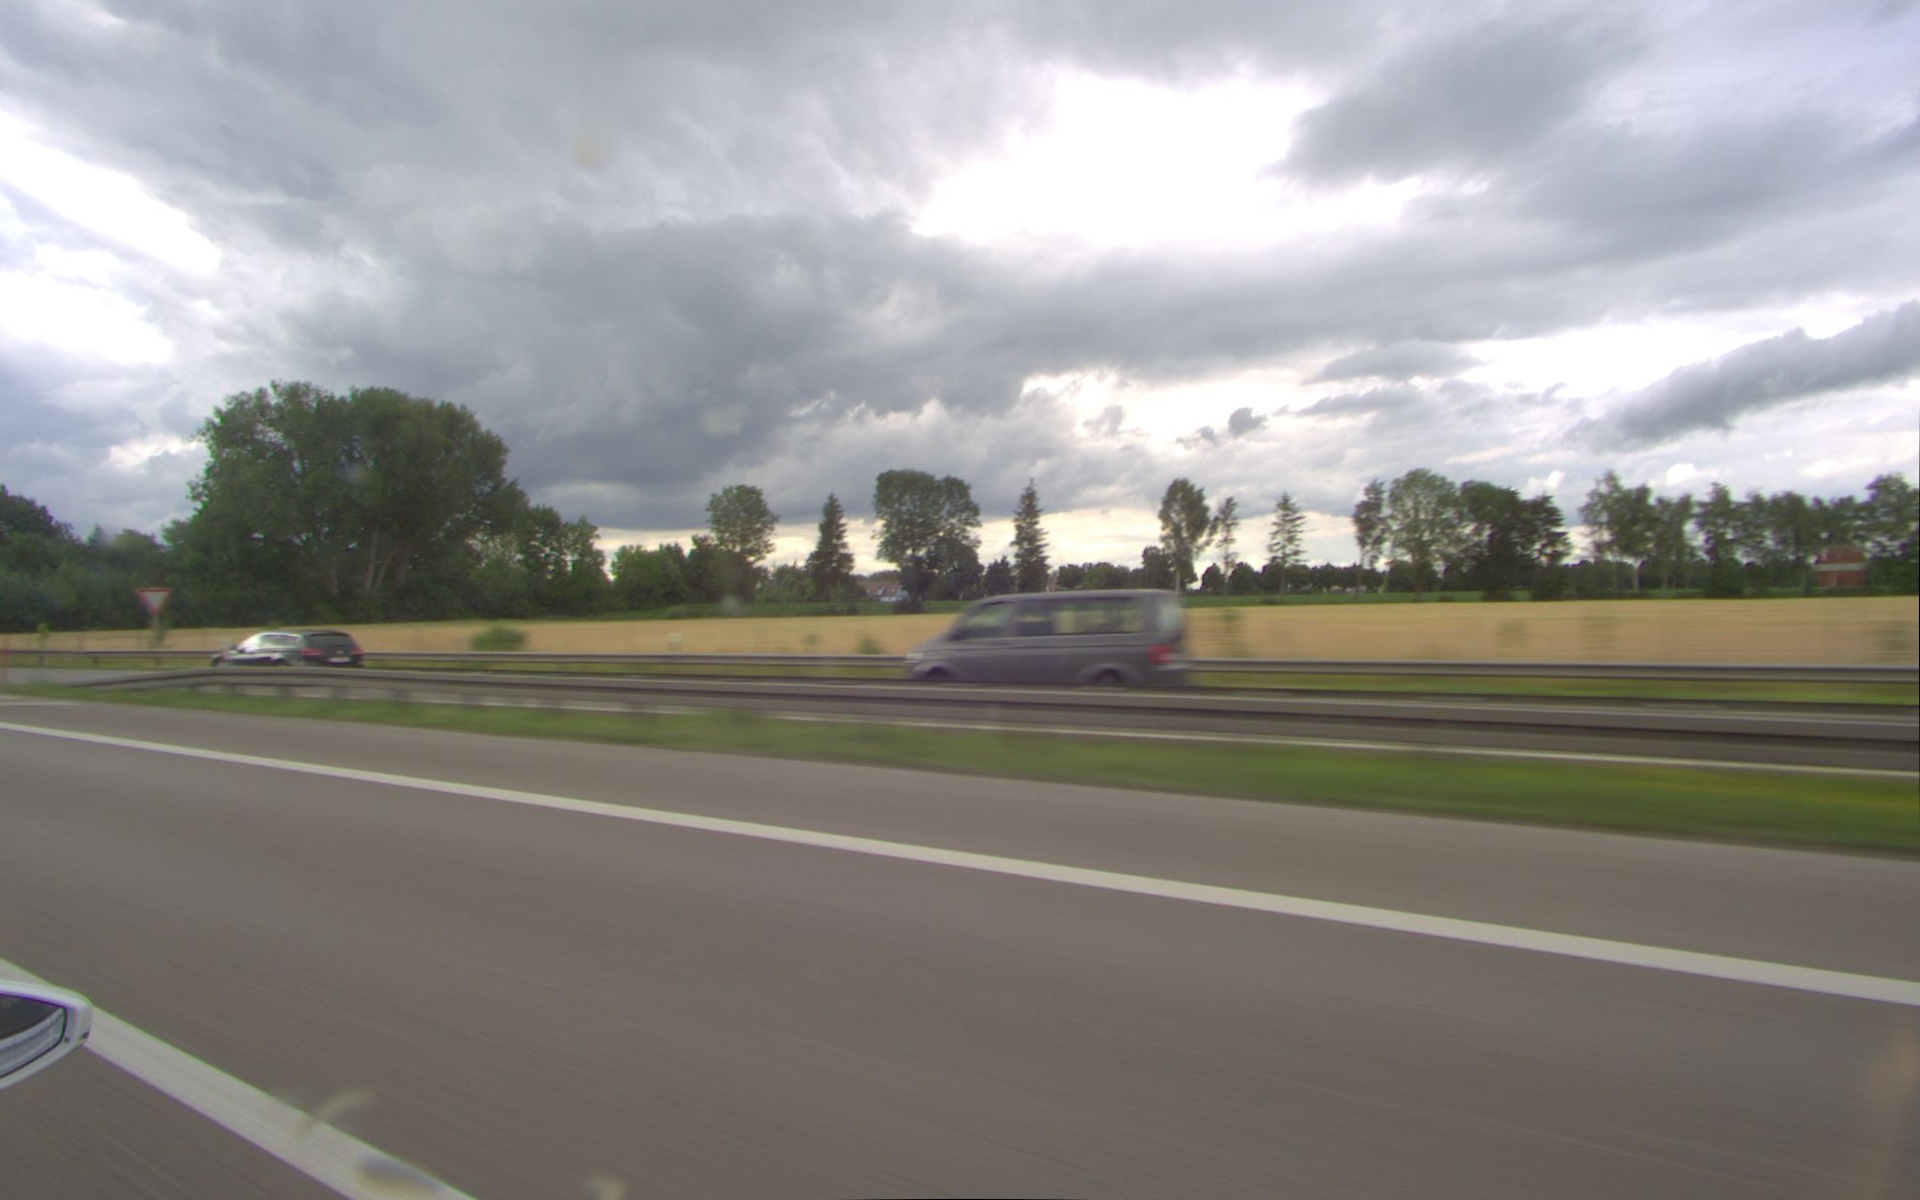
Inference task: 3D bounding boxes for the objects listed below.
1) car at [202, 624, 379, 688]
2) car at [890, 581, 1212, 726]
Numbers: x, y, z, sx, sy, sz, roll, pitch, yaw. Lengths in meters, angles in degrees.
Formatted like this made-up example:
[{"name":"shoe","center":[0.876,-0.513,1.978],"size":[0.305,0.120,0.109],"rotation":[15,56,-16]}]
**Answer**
[{"name":"car","center":[-18.250,1.476,27.257],"size":[4.847,1.571,1.916],"rotation":[-1,0,28]},{"name":"car","center":[1.460,0.820,16.535],"size":[4.882,2.089,2.142],"rotation":[-1,-1,29]}]
